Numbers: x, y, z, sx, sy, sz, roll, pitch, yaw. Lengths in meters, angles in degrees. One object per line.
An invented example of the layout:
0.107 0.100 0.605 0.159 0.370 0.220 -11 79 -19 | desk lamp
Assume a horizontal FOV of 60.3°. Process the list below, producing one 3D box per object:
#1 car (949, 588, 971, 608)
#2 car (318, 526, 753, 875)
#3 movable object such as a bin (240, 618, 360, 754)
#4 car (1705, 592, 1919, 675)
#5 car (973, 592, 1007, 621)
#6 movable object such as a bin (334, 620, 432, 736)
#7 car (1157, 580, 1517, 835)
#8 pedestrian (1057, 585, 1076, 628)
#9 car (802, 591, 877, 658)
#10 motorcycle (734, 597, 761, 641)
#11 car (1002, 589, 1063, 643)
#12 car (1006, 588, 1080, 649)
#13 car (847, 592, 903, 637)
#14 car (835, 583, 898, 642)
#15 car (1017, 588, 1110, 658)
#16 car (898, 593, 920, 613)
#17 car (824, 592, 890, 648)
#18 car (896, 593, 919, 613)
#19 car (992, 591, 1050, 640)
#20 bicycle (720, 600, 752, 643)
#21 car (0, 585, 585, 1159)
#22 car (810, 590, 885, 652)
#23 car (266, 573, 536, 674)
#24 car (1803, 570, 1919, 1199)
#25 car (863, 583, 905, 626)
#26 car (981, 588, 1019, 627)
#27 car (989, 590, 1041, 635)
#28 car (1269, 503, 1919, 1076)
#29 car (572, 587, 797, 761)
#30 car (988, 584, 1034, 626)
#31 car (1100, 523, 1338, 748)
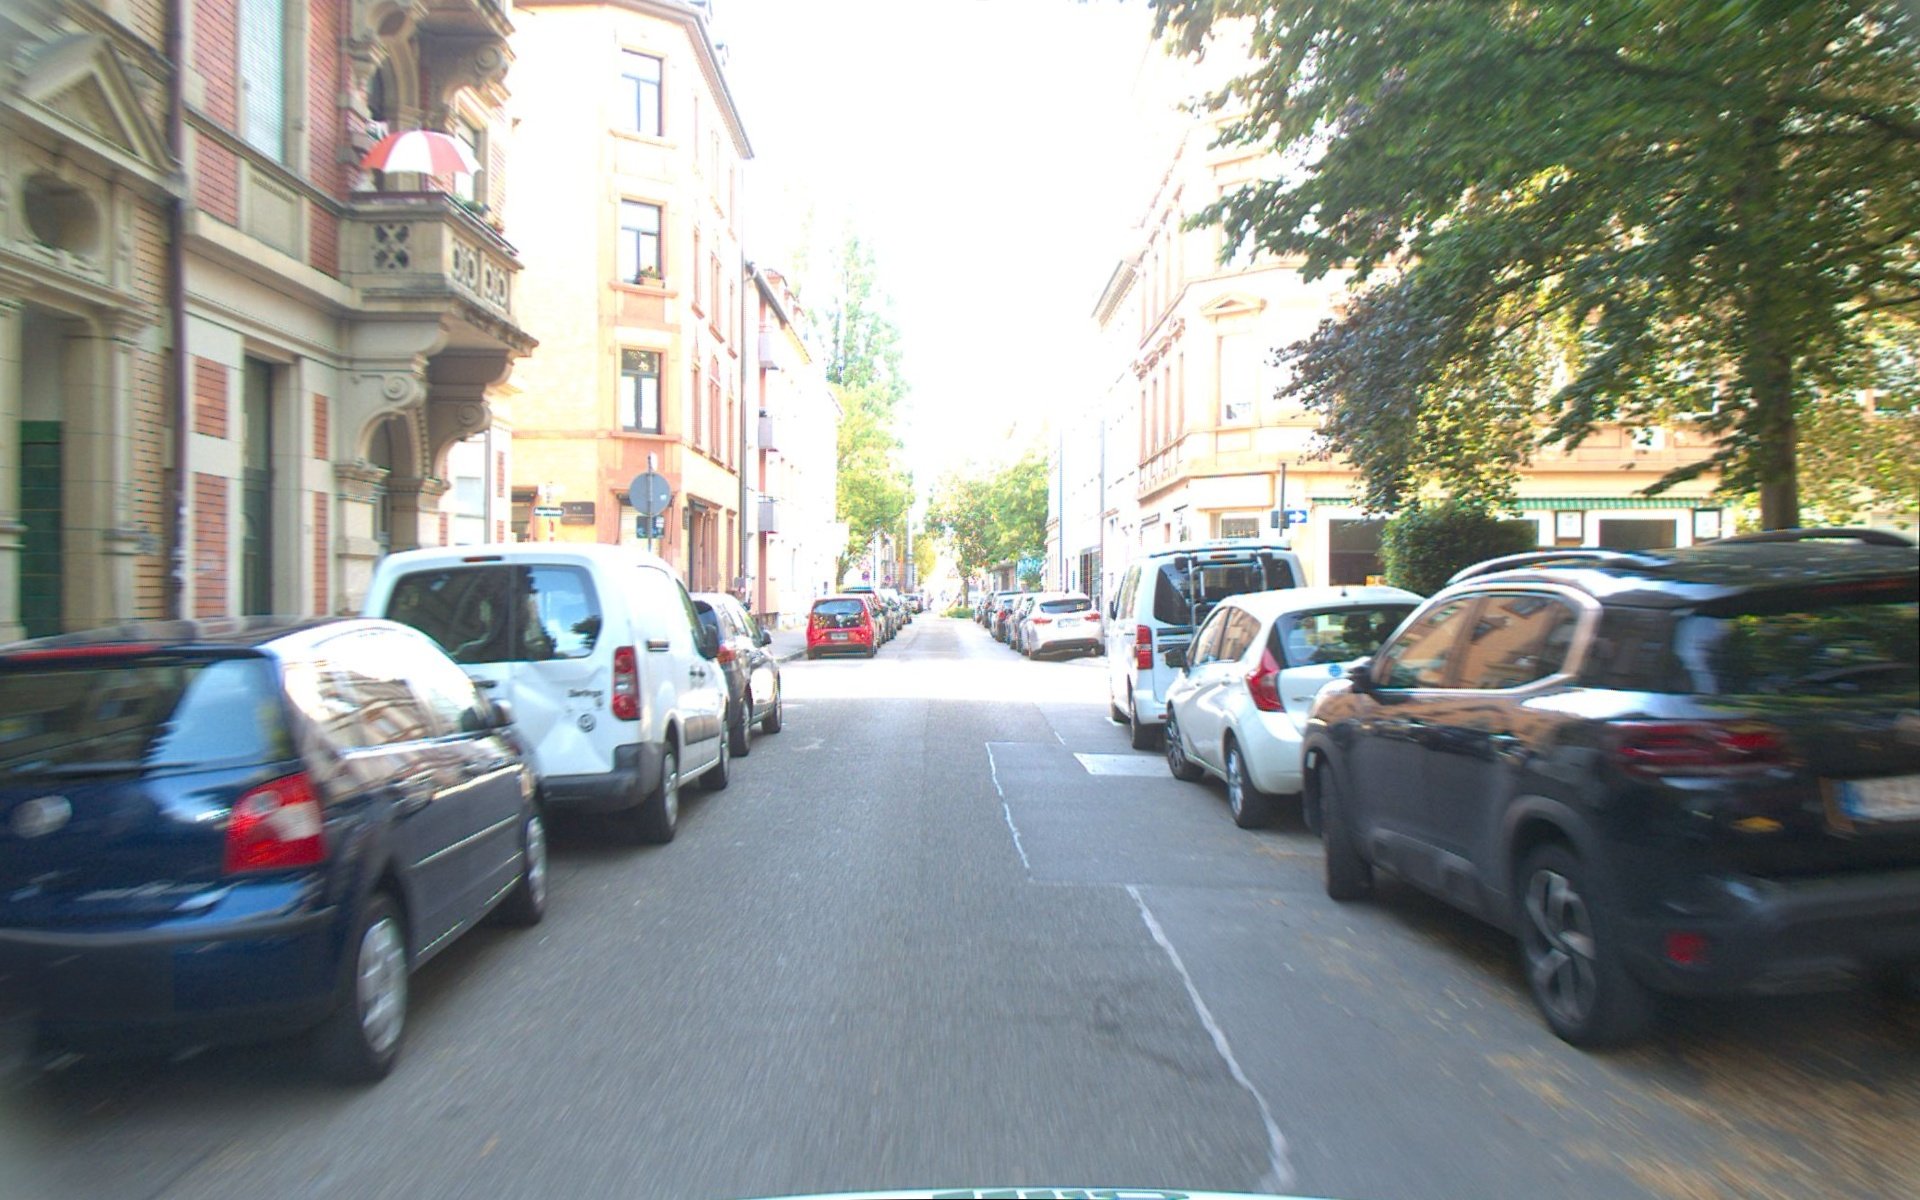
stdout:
-0.033 -0.166 130.226 1.642 1.513 3.637 -2 0 -1 | car
-2.605 0.532 11.331 1.794 1.843 4.571 -2 0 -1 | car
-5.463 0.694 13.727 0.624 1.059 0.856 2 0 -1 | movable object such as a bin
16.244 0.638 31.082 3.773 1.499 1.634 1 -2 6 | car
1.652 0.339 91.447 1.642 1.513 4.093 -2 0 -1 | car
-5.560 0.737 15.969 0.624 1.059 0.856 2 0 -1 | movable object such as a bin
2.611 0.666 12.348 1.684 1.598 3.826 0 0 -2 | car
4.242 0.242 65.779 0.671 1.689 0.717 -1 0 -1 | pedestrian
-2.912 0.573 40.587 1.595 1.507 3.600 -2 0 -1 | car
-5.995 0.524 46.713 0.522 1.227 1.908 0 0 0 | motorcycle
2.190 0.449 50.718 1.566 1.533 4.183 -2 0 -1 | car
2.247 0.479 45.509 1.708 1.533 4.020 -2 0 -1 | car
-3.099 0.501 60.880 1.707 1.533 4.347 -2 0 1 | car
-3.101 0.392 55.604 1.707 1.842 4.673 -2 0 1 | car
2.447 0.510 40.106 1.709 1.533 4.355 -2 0 -3 | car
-4.126 0.214 134.151 1.642 1.513 4.093 -2 0 -1 | car
-3.084 0.570 50.176 1.622 1.547 3.945 -2 0 1 | car
-4.091 0.209 129.141 1.642 1.513 4.093 -2 0 -1 | car
2.005 0.488 55.306 1.642 1.533 3.936 -2 0 -1 | car
-5.987 0.558 44.295 0.522 1.092 1.891 4 0 0 | bicycle
-2.677 0.750 6.526 1.659 1.540 3.970 -2 0 -3 | car
-3.041 0.545 45.354 1.660 1.547 4.096 -2 0 1 | car
-10.964 0.482 32.652 4.612 1.927 2.028 0 -2 5 | car
2.811 0.693 1.689 1.587 1.652 3.860 -5 0 -5 | car
-3.405 0.186 74.831 1.729 1.816 4.038 -2 0 -1 | car
1.857 0.352 77.261 1.641 1.711 4.094 -2 -1 0 | car
1.964 0.425 60.217 1.642 1.533 3.936 -2 0 -1 | car
2.784 0.543 7.091 1.706 1.630 4.260 -5 0 -5 | car
-2.672 0.653 16.885 1.658 1.507 3.972 -2 0 -1 | car
2.193 0.215 71.924 1.642 1.655 4.249 -4 0 -1 | car
2.627 0.313 17.900 1.875 2.033 4.793 -2 0 1 | car
